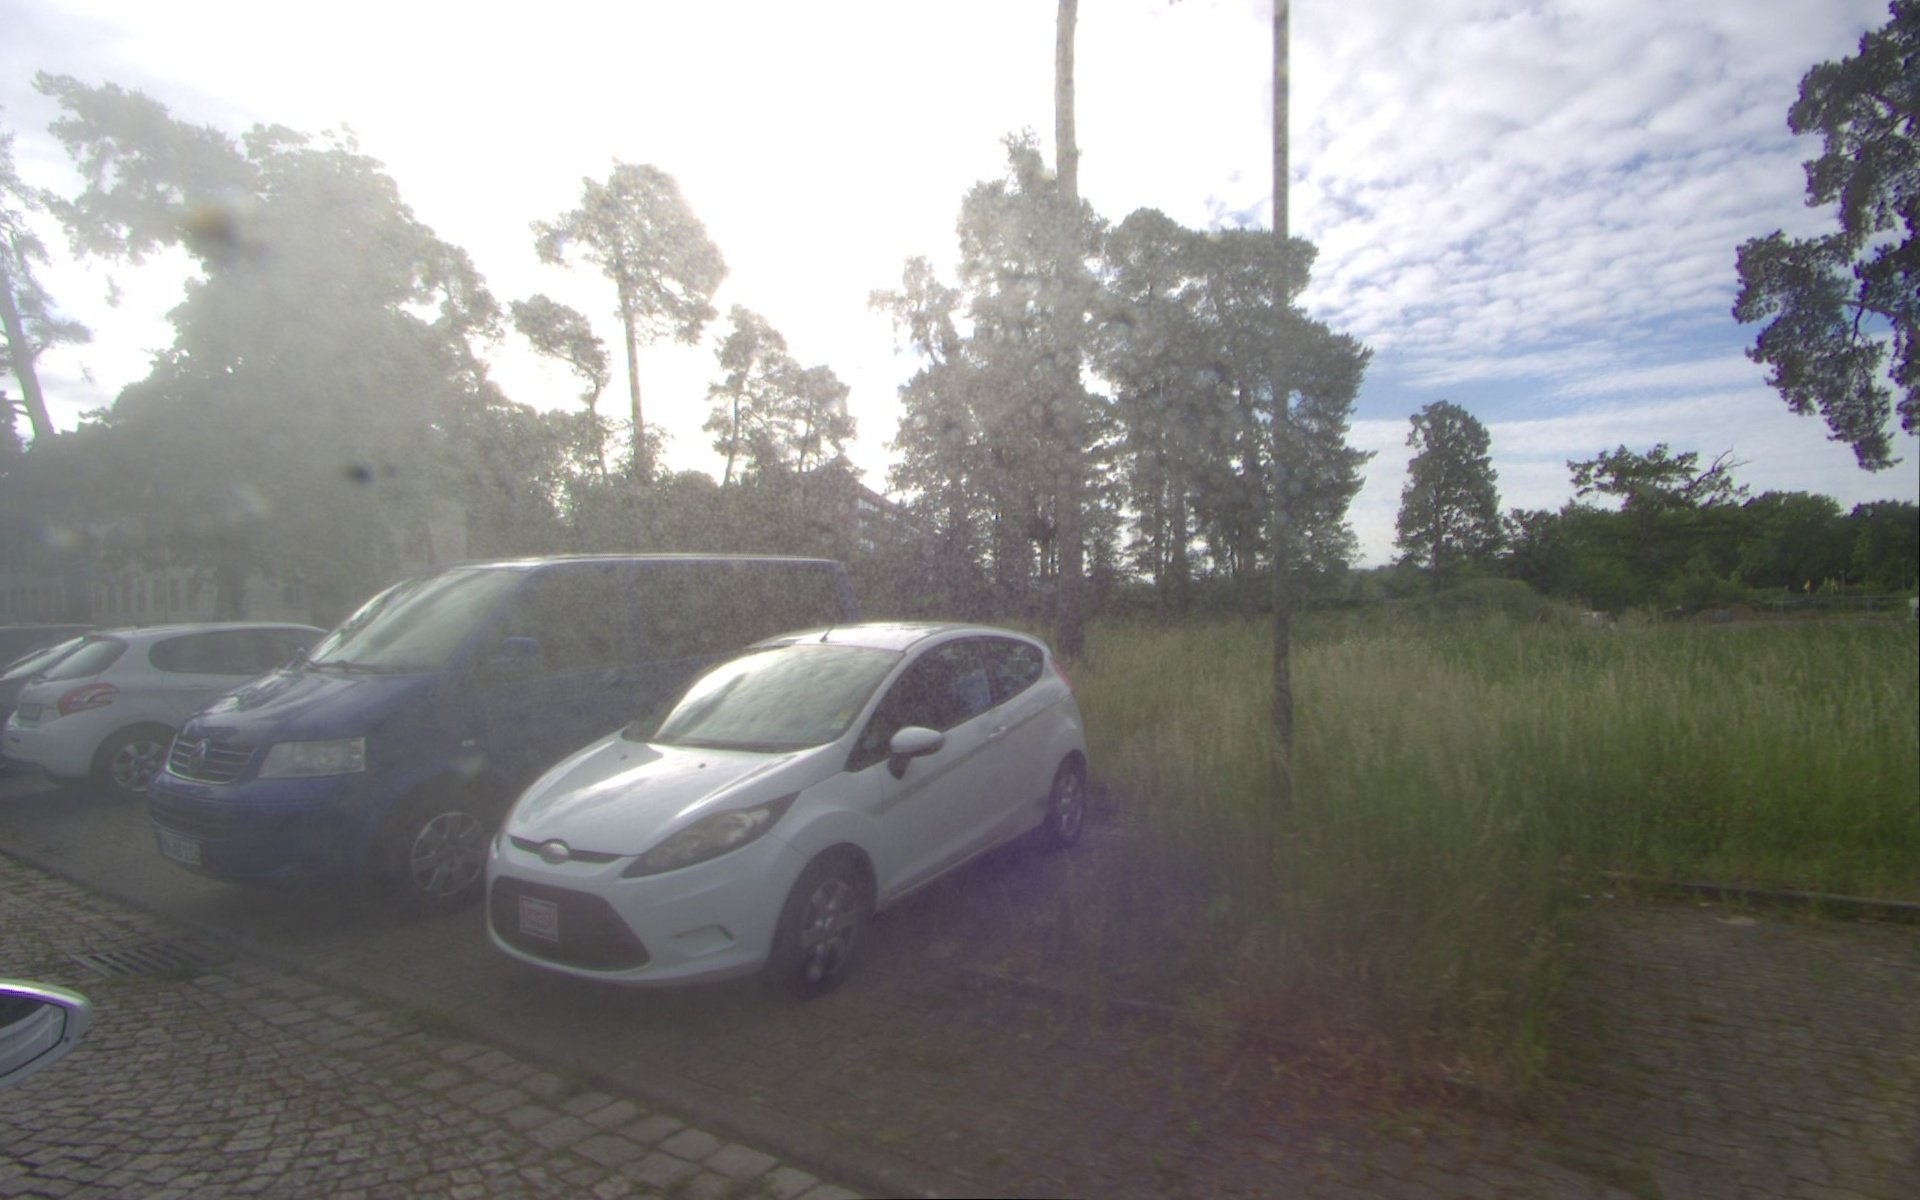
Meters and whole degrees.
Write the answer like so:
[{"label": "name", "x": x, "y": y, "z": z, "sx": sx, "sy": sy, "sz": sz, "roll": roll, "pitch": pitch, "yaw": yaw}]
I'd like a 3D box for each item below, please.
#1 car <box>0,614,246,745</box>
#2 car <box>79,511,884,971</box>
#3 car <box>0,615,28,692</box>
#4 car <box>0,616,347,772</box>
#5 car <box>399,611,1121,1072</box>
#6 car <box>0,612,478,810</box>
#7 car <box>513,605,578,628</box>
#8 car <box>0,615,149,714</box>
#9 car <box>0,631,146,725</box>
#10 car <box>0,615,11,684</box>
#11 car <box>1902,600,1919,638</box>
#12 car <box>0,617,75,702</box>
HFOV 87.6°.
[{"label": "car", "x": -11.744, "y": 0.972, "z": 13.109, "sx": 1.718, "sy": 1.507, "sz": 3.498, "roll": 0, "pitch": 0, "yaw": 32}, {"label": "car", "x": -2.699, "y": 0.616, "z": 6.975, "sx": 1.937, "sy": 2.031, "sz": 4.787, "roll": 0, "pitch": 0, "yaw": 31}, {"label": "car", "x": -20.197, "y": 1.063, "z": 18.365, "sx": 1.680, "sy": 1.499, "sz": 4.231, "roll": 0, "pitch": 0, "yaw": 22}, {"label": "car", "x": -9.537, "y": 0.958, "z": 11.311, "sx": 1.741, "sy": 1.466, "sz": 4.120, "roll": 0, "pitch": 0, "yaw": 33}, {"label": "car", "x": -0.622, "y": 0.845, "z": 5.596, "sx": 1.696, "sy": 1.498, "sz": 4.092, "roll": 0, "pitch": 0, "yaw": 30}, {"label": "car", "x": -7.012, "y": 0.908, "z": 9.946, "sx": 1.740, "sy": 1.498, "sz": 3.645, "roll": 0, "pitch": 0, "yaw": 32}, {"label": "car", "x": -38.193, "y": 1.559, "z": 92.323, "sx": 2.076, "sy": 2.045, "sz": 5.290, "roll": -1, "pitch": -2, "yaw": 33}, {"label": "car", "x": -15.751, "y": 1.038, "z": 15.934, "sx": 1.660, "sy": 1.496, "sz": 4.097, "roll": 0, "pitch": 0, "yaw": 31}, {"label": "car", "x": -14.085, "y": 1.121, "z": 14.251, "sx": 1.606, "sy": 1.239, "sz": 3.577, "roll": 0, "pitch": 0, "yaw": 34}, {"label": "car", "x": -22.089, "y": 1.076, "z": 20.081, "sx": 1.608, "sy": 1.483, "sz": 4.132, "roll": 0, "pitch": 0, "yaw": 27}, {"label": "car", "x": 67.402, "y": 1.286, "z": 68.518, "sx": 2.238, "sy": 2.674, "sz": 5.672, "roll": 0, "pitch": -2, "yaw": 20}, {"label": "car", "x": -17.922, "y": 1.054, "z": 16.859, "sx": 1.727, "sy": 1.456, "sz": 4.184, "roll": 0, "pitch": 0, "yaw": 25}]
